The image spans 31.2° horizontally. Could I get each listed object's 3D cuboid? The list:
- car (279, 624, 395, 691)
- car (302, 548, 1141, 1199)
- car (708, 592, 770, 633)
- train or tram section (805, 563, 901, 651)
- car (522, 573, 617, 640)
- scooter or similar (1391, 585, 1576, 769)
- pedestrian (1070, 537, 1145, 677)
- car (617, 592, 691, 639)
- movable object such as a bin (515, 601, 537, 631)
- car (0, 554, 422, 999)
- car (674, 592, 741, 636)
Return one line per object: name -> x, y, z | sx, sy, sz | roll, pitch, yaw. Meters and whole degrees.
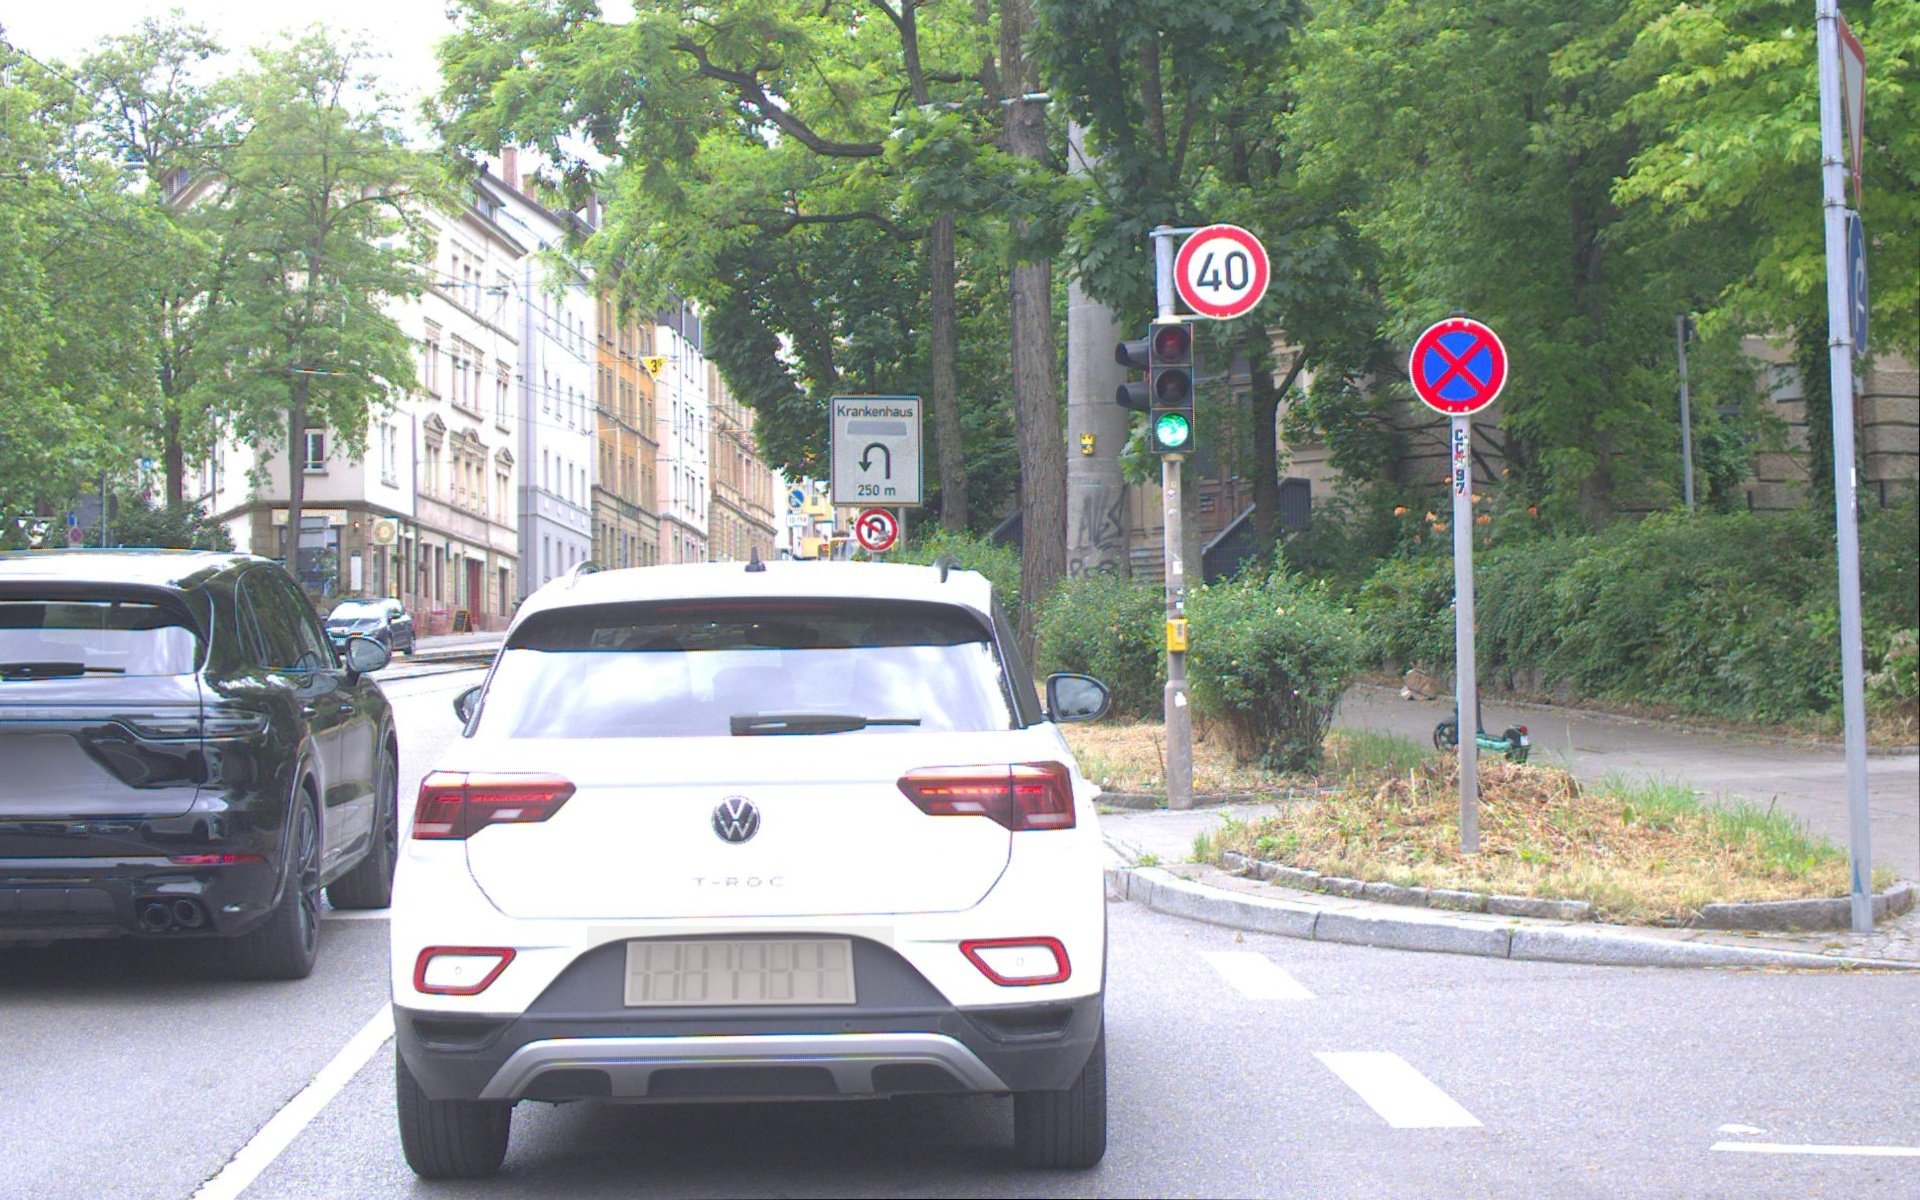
car -> -14.243, 1.300, 78.805 | 1.766, 1.403, 4.082 | -1, 0, 2
car -> -0.570, 0.664, 9.780 | 1.879, 1.549, 4.000 | -1, 0, -1
car -> -8.821, 0.487, 137.522 | 1.994, 1.547, 4.000 | -1, 0, 3
train or tram section -> -4.710, 0.270, 154.748 | 2.883, 3.713, 14.854 | 1, 0, 4
car -> -11.838, 0.176, 104.475 | 1.947, 1.939, 5.002 | -1, 1, 4
scooter or similar -> 3.567, 0.510, 23.546 | 0.630, 1.206, 1.558 | -1, 0, -16
pedestrian -> 1.824, 0.081, 42.511 | 0.771, 1.697, 0.785 | -1, 0, -7
car -> -10.558, 0.517, 119.005 | 1.994, 1.547, 4.000 | -1, 0, 3
movable object such as a bin -> -15.899, 0.583, 125.904 | 0.687, 1.070, 0.676 | -1, 0, 5
car -> -3.500, 0.627, 14.372 | 2.037, 1.566, 4.358 | -1, 0, -3
car -> -9.344, 0.515, 127.478 | 1.994, 1.547, 4.000 | -1, 0, 3
